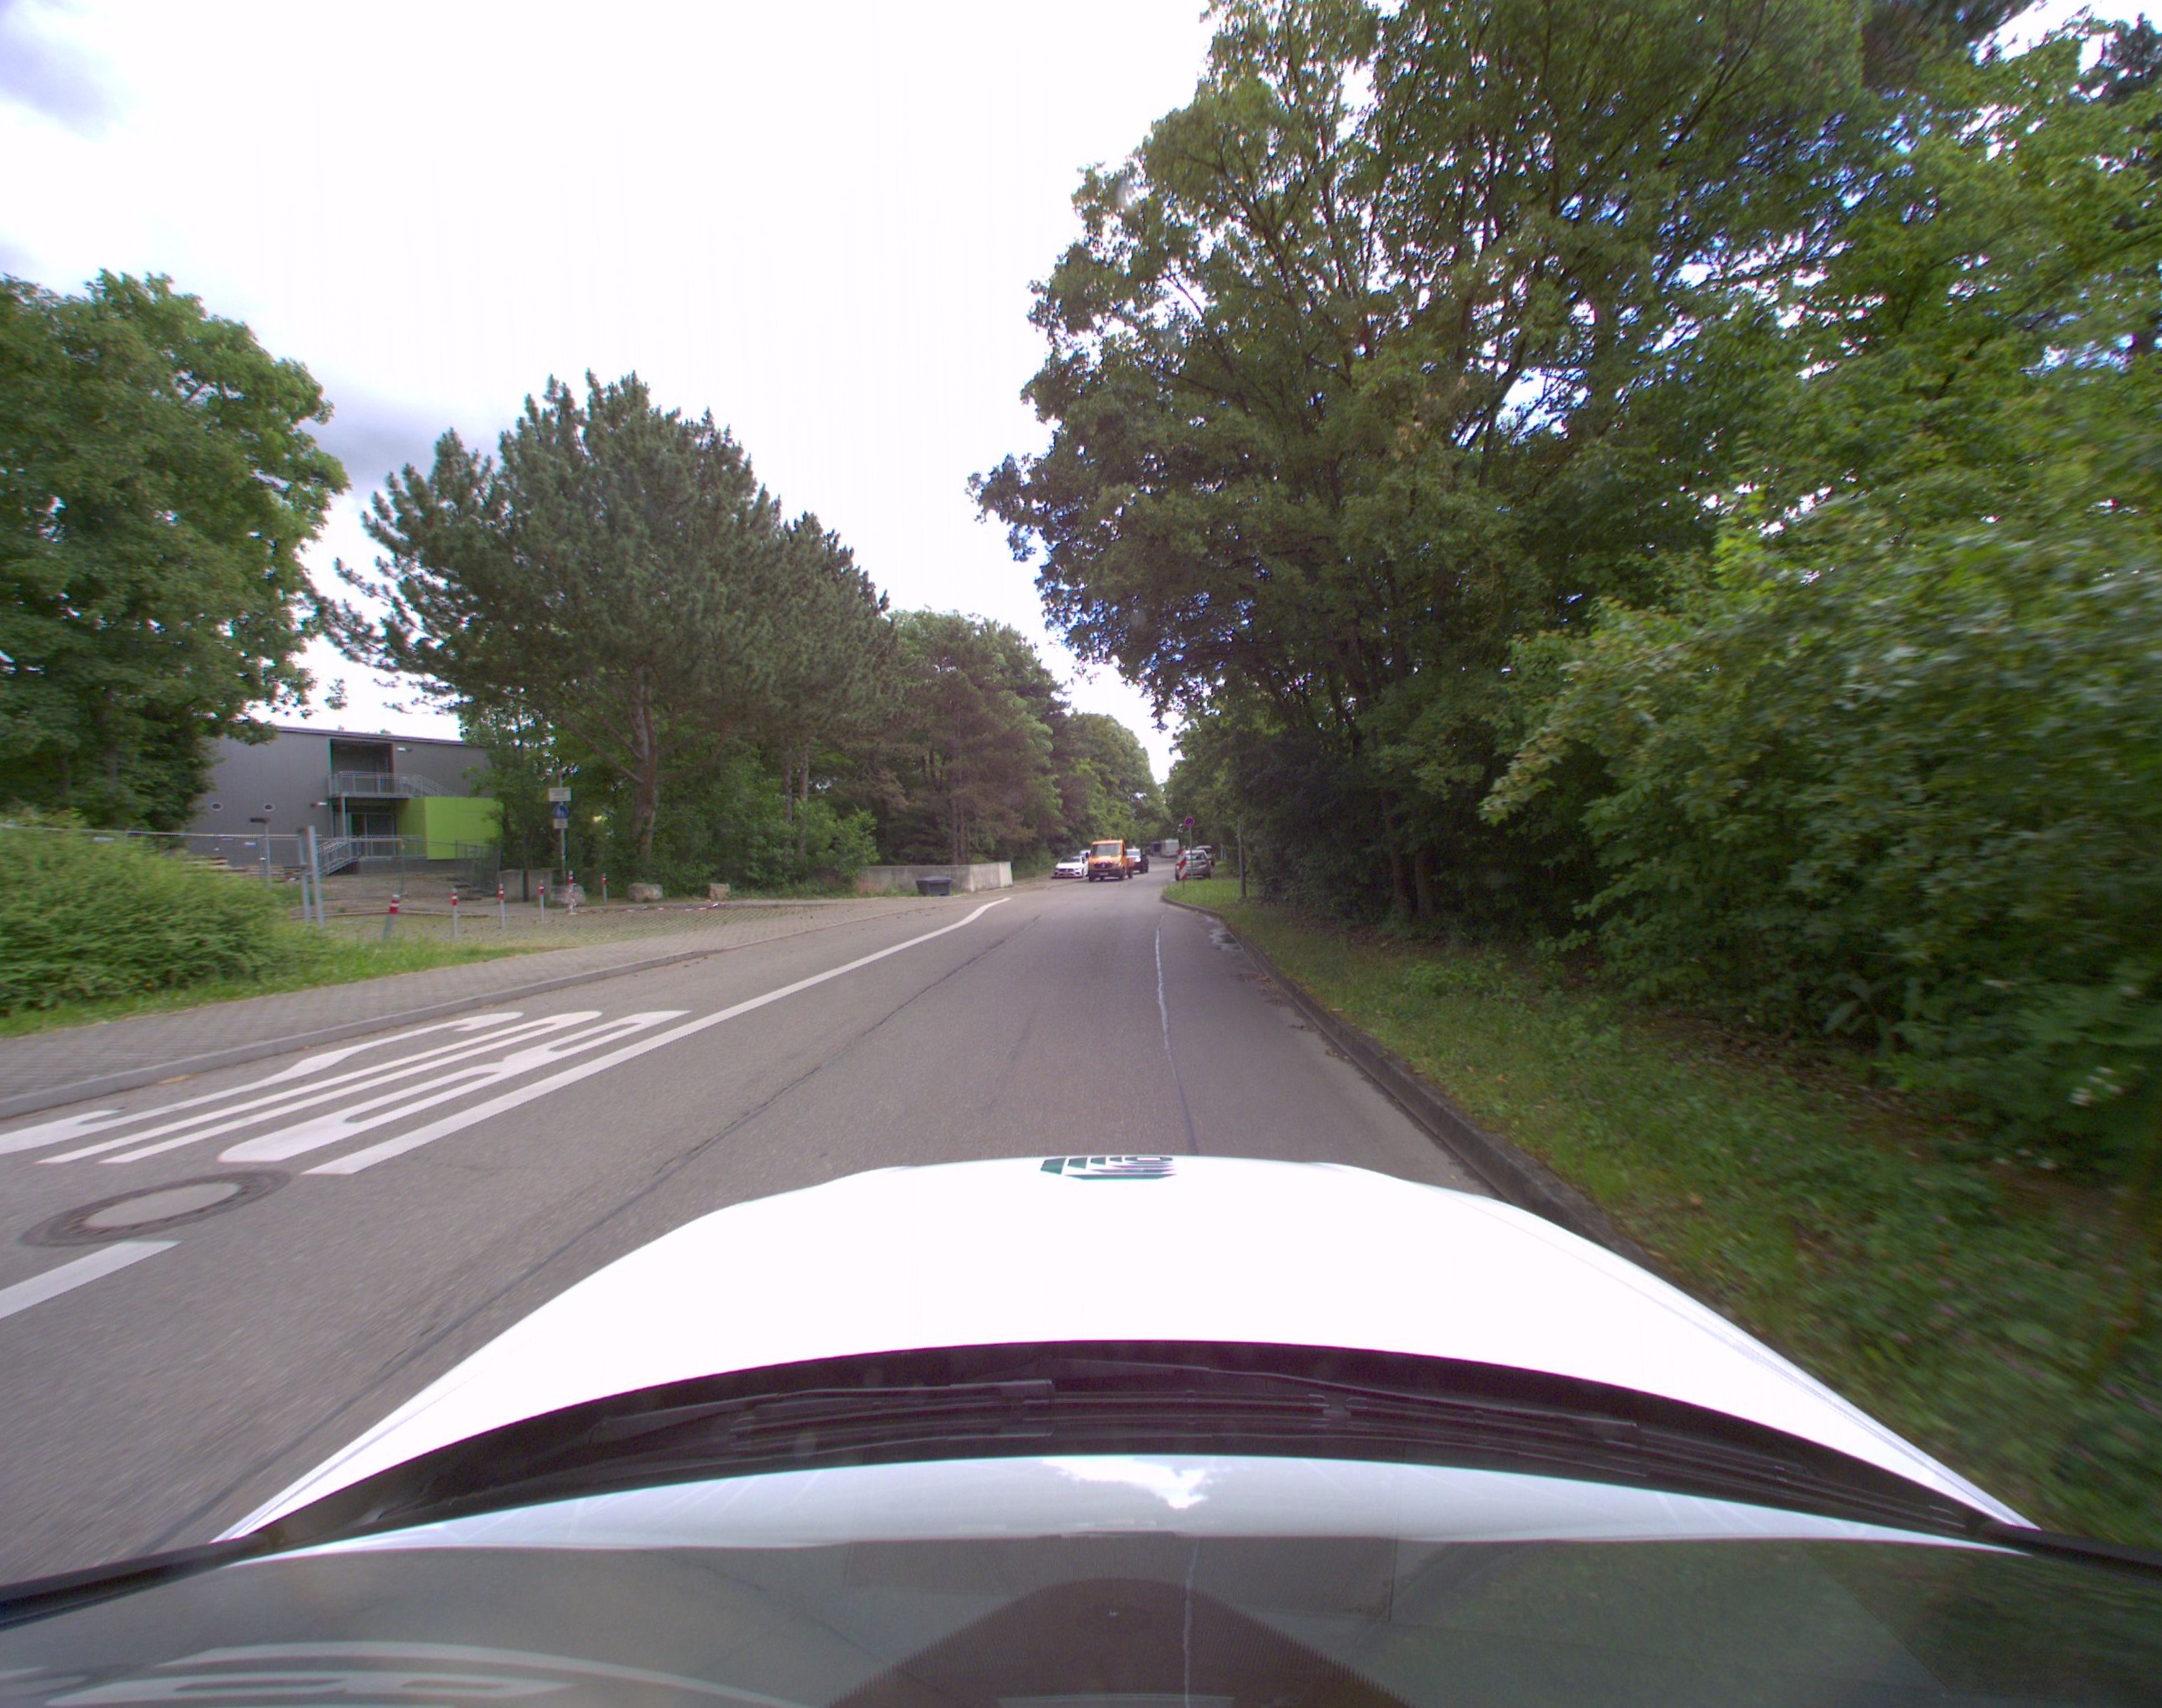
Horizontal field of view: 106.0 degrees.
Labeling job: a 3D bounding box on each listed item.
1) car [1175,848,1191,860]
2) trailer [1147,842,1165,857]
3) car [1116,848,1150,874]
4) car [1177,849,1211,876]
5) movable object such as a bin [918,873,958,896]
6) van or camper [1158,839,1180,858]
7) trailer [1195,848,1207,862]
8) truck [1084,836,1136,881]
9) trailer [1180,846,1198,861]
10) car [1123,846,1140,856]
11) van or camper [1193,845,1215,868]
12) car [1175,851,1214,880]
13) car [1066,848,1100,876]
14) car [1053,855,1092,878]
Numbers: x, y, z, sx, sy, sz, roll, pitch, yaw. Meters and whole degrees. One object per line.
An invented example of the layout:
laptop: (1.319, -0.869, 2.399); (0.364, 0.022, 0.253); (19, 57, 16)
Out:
car: (15.376, -0.017, 123.294); (1.794, 1.562, 3.834); (-3, 1, -1)
trailer: (13.263, -0.803, 144.503); (1.994, 2.398, 3.985); (-3, 0, -11)
car: (3.883, 0.498, 59.780); (1.982, 1.735, 5.349); (-2, 0, 8)
car: (7.051, 0.478, 50.368); (1.875, 1.507, 5.189); (-3, 0, 9)
movable object such as a bin: (-5.095, 1.077, 28.964); (1.150, 0.760, 1.039); (0, -1, -29)
van or camper: (14.444, -0.837, 133.788); (2.476, 2.876, 6.882); (-2, 0, -3)
trailer: (14.885, 0.124, 101.262); (1.272, 1.585, 2.464); (-2, 0, 5)
truck: (1.762, 0.211, 47.197); (2.309, 2.470, 6.035); (0, 1, 8)
trailer: (15.076, -0.087, 113.916); (1.971, 1.811, 5.151); (-3, 1, 2)
car: (10.106, -0.618, 163.117); (2.039, 1.803, 4.060); (-3, 1, -16)
van or camper: (10.797, 0.230, 71.526); (1.791, 1.838, 4.330); (-2, -1, 9)
car: (6.022, 0.578, 42.973); (1.781, 1.411, 4.071); (-2, 0, 10)
car: (0.177, 0.523, 59.429); (1.710, 1.921, 4.117); (0, 1, 11)
car: (-0.515, 0.792, 52.738); (1.795, 1.403, 4.382); (-1, 0, 8)
